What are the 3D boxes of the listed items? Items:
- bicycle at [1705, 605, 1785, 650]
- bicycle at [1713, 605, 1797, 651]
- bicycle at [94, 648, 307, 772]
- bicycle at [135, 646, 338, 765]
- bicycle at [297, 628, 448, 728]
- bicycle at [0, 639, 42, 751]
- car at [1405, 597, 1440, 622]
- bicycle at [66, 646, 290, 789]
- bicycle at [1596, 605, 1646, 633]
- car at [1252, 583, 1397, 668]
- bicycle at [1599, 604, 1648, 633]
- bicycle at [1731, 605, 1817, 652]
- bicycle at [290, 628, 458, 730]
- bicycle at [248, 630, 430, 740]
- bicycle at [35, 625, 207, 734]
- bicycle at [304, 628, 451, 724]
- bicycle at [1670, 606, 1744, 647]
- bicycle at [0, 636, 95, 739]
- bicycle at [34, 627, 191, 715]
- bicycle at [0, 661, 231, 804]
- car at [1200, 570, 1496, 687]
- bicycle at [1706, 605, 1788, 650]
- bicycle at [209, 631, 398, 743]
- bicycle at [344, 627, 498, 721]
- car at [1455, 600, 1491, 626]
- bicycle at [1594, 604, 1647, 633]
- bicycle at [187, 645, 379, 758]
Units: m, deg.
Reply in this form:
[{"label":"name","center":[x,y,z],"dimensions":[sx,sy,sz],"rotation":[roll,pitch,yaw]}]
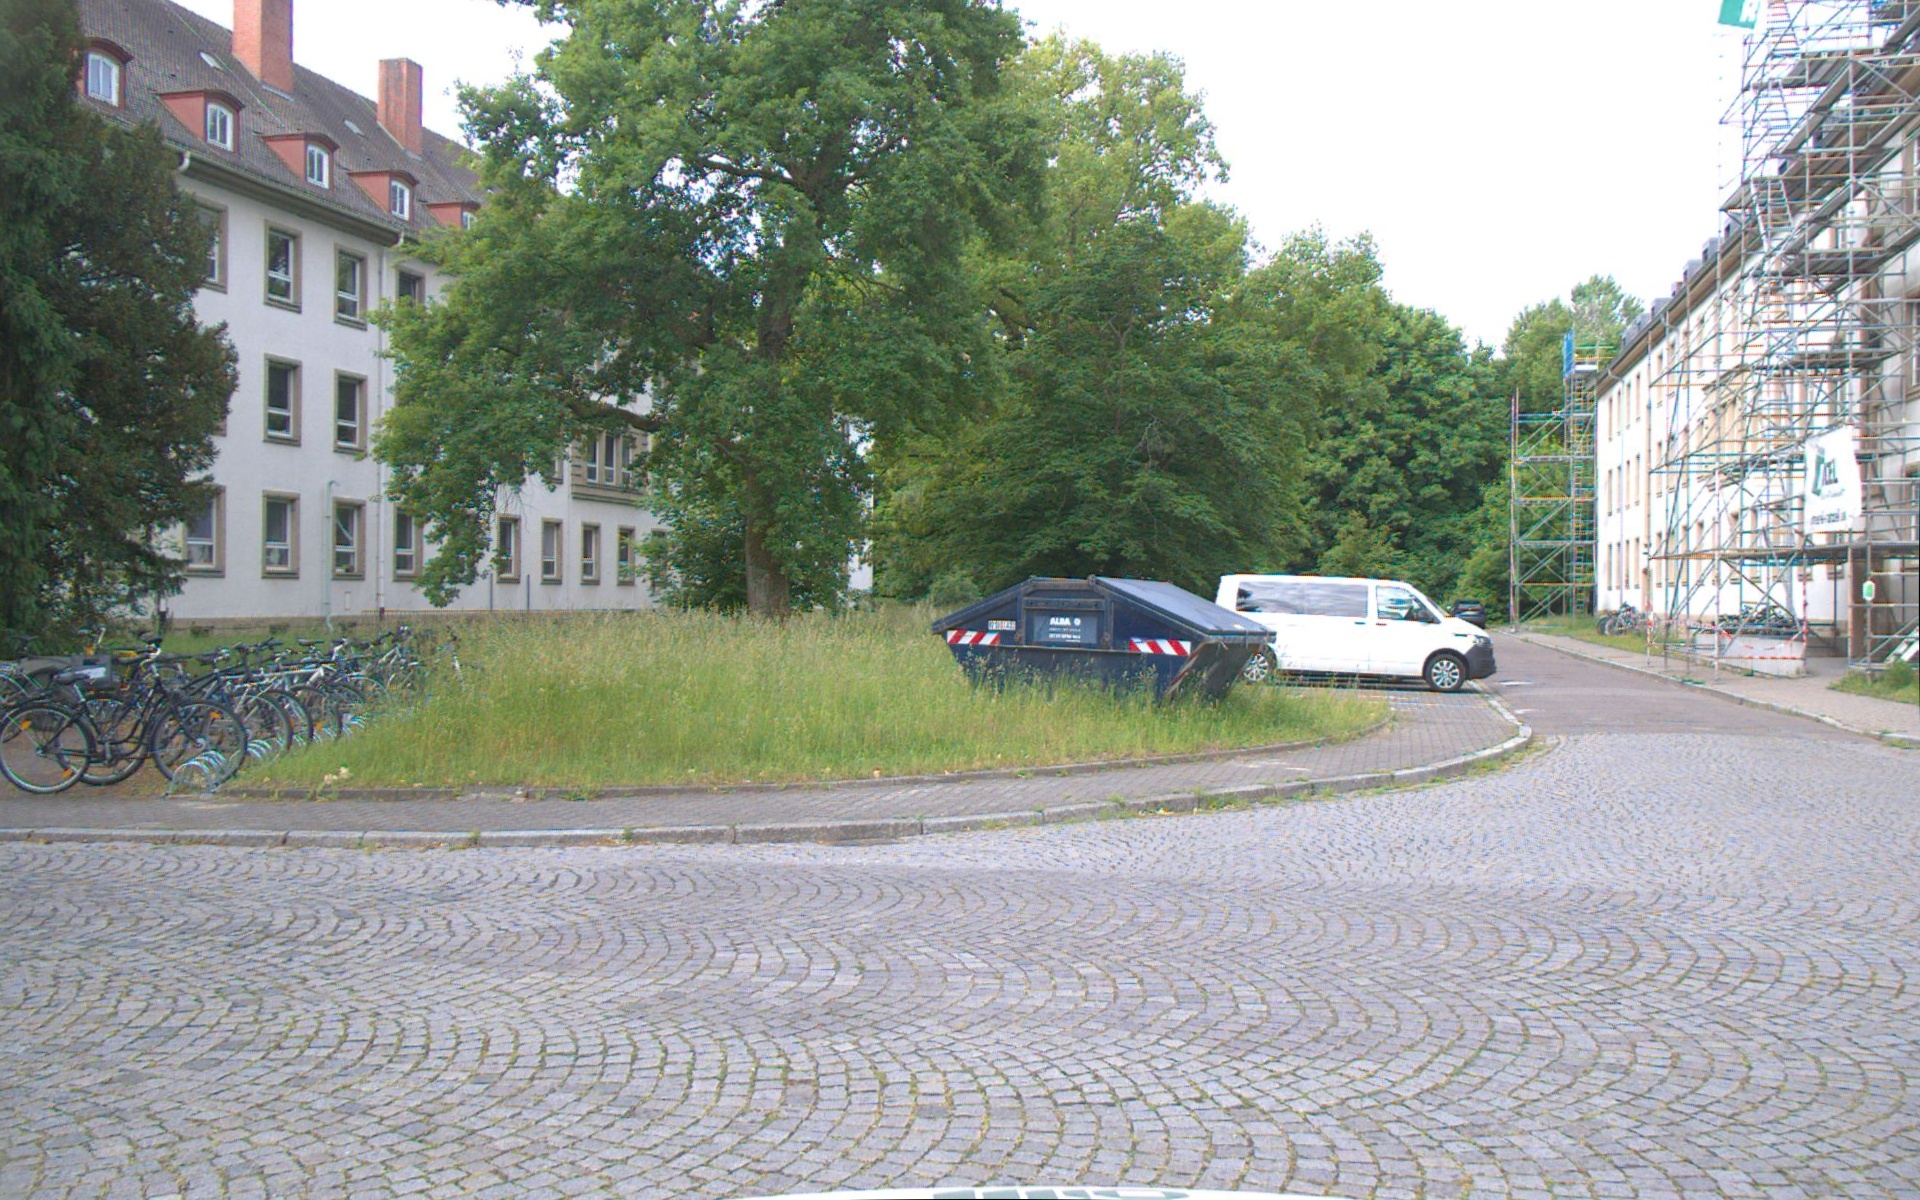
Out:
[{"label":"bicycle","center":[20.062,0.697,42.302],"dimensions":[1.818,1.114,0.511],"rotation":[0,0,22]},{"label":"bicycle","center":[19.584,0.684,40.778],"dimensions":[1.818,1.114,0.511],"rotation":[0,0,22]},{"label":"bicycle","center":[-6.703,0.962,14.631],"dimensions":[1.628,1.025,0.477],"rotation":[-1,-1,-2]},{"label":"bicycle","center":[-6.655,0.965,15.252],"dimensions":[1.628,1.025,0.477],"rotation":[-1,-1,-2]},{"label":"bicycle","center":[-6.821,0.900,19.226],"dimensions":[1.612,1.131,0.442],"rotation":[0,0,4]},{"label":"bicycle","center":[-10.206,0.942,16.434],"dimensions":[1.787,1.083,0.616],"rotation":[0,0,-12]},{"label":"car","center":[25.313,0.518,90.609],"dimensions":[1.545,1.362,3.956],"rotation":[0,0,12]},{"label":"bicycle","center":[-6.427,0.950,13.658],"dimensions":[1.591,1.093,0.475],"rotation":[-1,-1,-17]},{"label":"bicycle","center":[25.903,0.742,64.819],"dimensions":[1.818,1.114,0.511],"rotation":[0,0,22]},{"label":"car","center":[8.352,0.566,37.852],"dimensions":[3.169,1.876,1.605],"rotation":[0,0,14]},{"label":"bicycle","center":[26.285,0.720,65.537],"dimensions":[1.818,1.114,0.511],"rotation":[0,0,22]},{"label":"bicycle","center":[19.752,0.683,40.168],"dimensions":[1.818,1.114,0.511],"rotation":[0,0,22]},{"label":"bicycle","center":[-6.643,0.893,18.787],"dimensions":[1.724,1.131,0.477],"rotation":[0,0,-2]},{"label":"bicycle","center":[-6.548,0.889,17.479],"dimensions":[1.726,1.131,0.477],"rotation":[0,0,-8]},{"label":"bicycle","center":[-9.480,0.890,18.709],"dimensions":[1.711,1.191,0.552],"rotation":[0,0,6]},{"label":"bicycle","center":[-6.951,0.900,19.767],"dimensions":[1.612,1.131,0.442],"rotation":[0,0,4]},{"label":"bicycle","center":[20.610,0.717,45.663],"dimensions":[1.818,1.114,0.511],"rotation":[0,0,22]},{"label":"bicycle","center":[-10.343,0.936,17.808],"dimensions":[1.717,1.083,0.550],"rotation":[0,0,-12]},{"label":"bicycle","center":[-10.473,0.874,20.462],"dimensions":[1.643,1.060,0.551],"rotation":[0,0,0]},{"label":"bicycle","center":[-6.626,1.021,12.977],"dimensions":[1.591,1.025,0.475],"rotation":[-1,-1,-17]},{"label":"car","center":[7.102,0.498,30.484],"dimensions":[5.147,2.031,1.970],"rotation":[0,0,14]},{"label":"bicycle","center":[19.763,0.692,41.552],"dimensions":[1.818,1.114,0.511],"rotation":[0,0,22]},{"label":"bicycle","center":[-6.721,0.885,16.971],"dimensions":[1.724,1.131,0.477],"rotation":[0,0,-2]},{"label":"bicycle","center":[-6.608,0.900,20.316],"dimensions":[1.724,1.131,0.477],"rotation":[0,0,-2]},{"label":"car","center":[28.072,0.689,90.551],"dimensions":[1.545,1.395,3.956],"rotation":[0,0,12]},{"label":"bicycle","center":[25.373,0.699,63.535],"dimensions":[1.825,1.114,0.509],"rotation":[0,0,37]},{"label":"bicycle","center":[-6.543,0.970,16.022],"dimensions":[1.628,1.025,0.477],"rotation":[-1,-1,-2]}]
